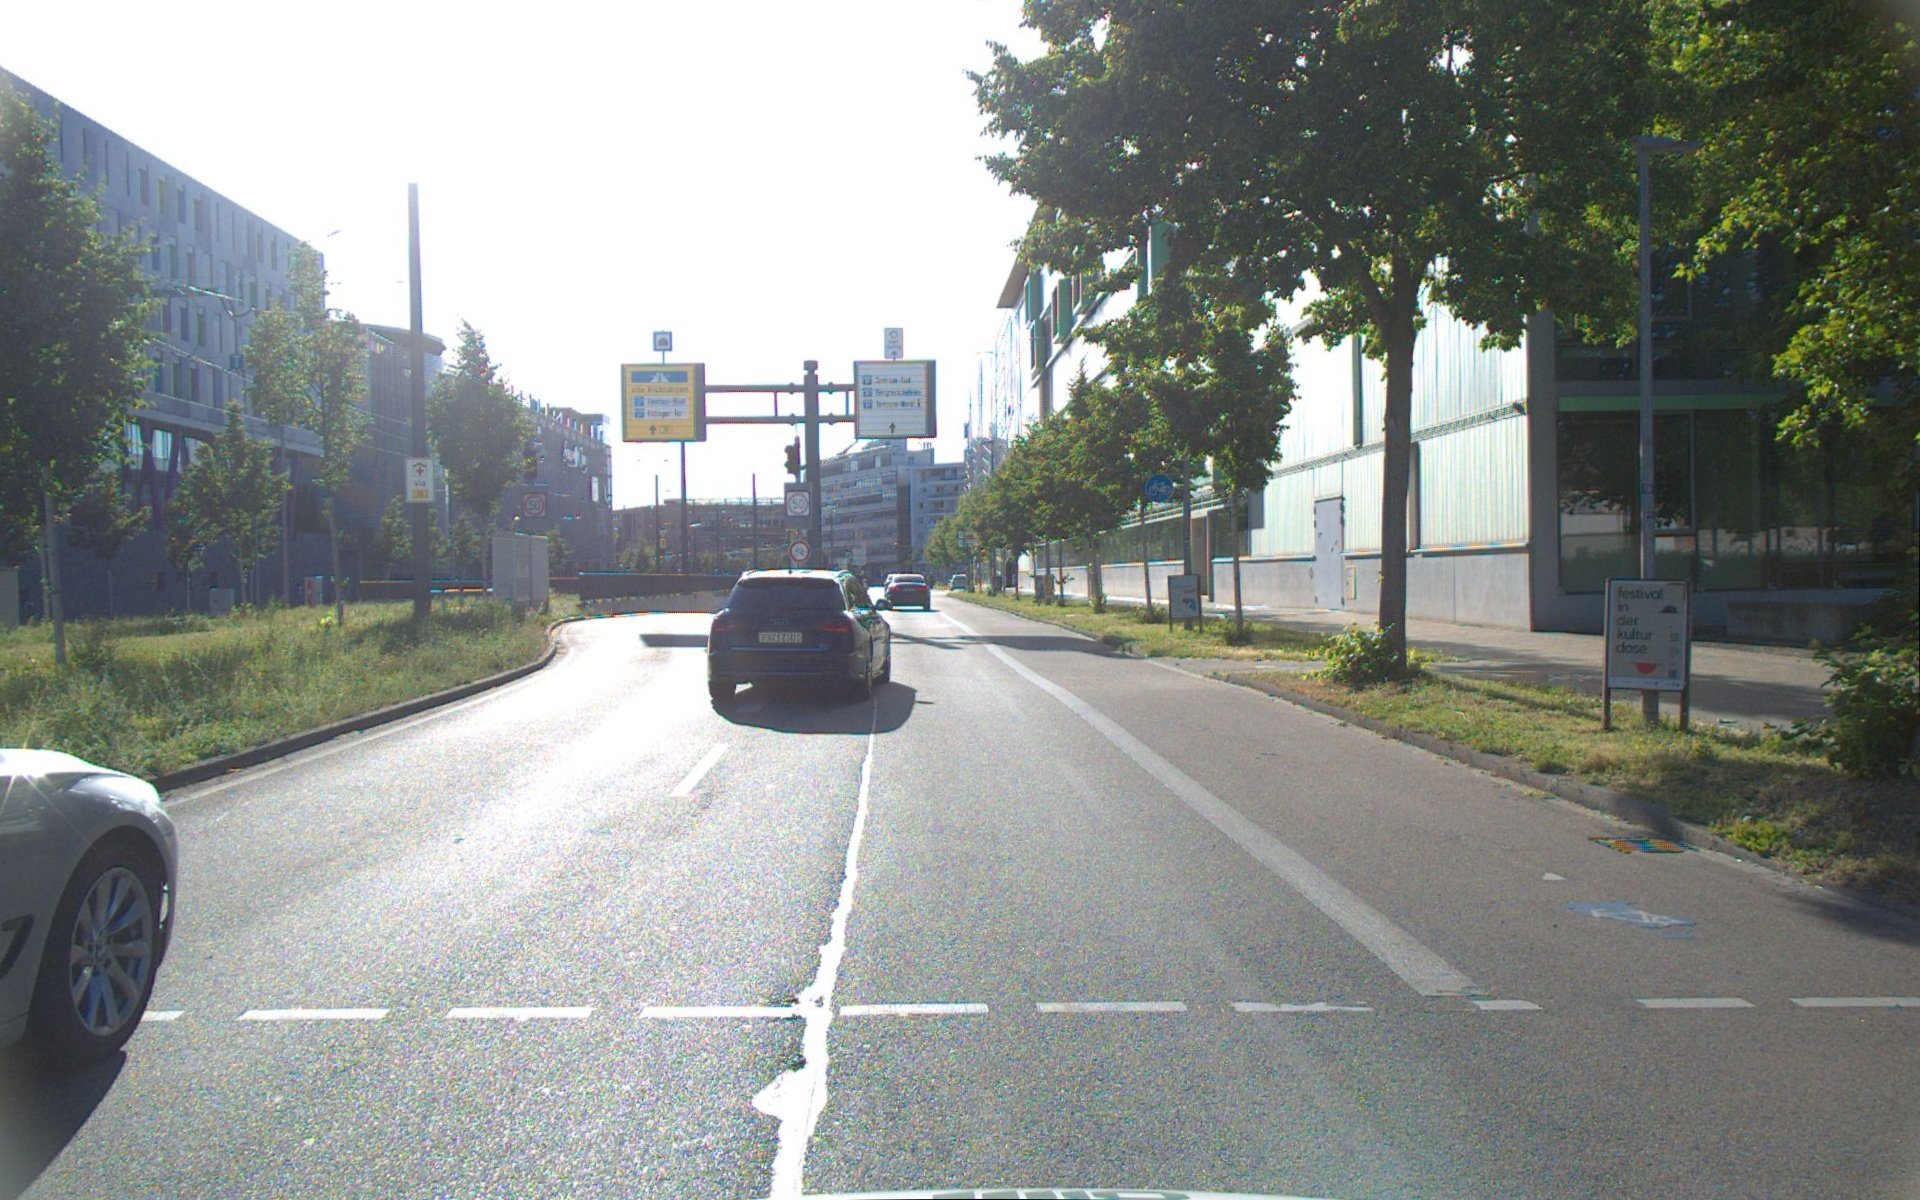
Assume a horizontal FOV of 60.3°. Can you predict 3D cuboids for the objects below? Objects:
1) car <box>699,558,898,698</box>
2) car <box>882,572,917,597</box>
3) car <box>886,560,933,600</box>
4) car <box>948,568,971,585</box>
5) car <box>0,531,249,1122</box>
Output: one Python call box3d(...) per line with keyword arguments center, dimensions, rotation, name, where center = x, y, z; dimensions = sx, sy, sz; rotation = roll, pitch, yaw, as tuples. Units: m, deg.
box3d(center=(-1.812, 0.249, 19.968), dimensions=(1.775, 1.452, 4.691), rotation=(-1, 1, 2), name="car")
box3d(center=(-3.853, -1.019, 104.872), dimensions=(1.955, 1.491, 3.996), rotation=(0, 2, -6), name="car")
box3d(center=(-2.024, -0.824, 66.302), dimensions=(1.815, 1.573, 3.999), rotation=(0, 1, -2), name="car")
box3d(center=(-0.094, -2.233, 156.936), dimensions=(1.816, 1.506, 4.851), rotation=(-3, 1, -3), name="car")
box3d(center=(-3.405, 0.606, 3.372), dimensions=(1.761, 1.553, 4.911), rotation=(0, 1, 0), name="car")
